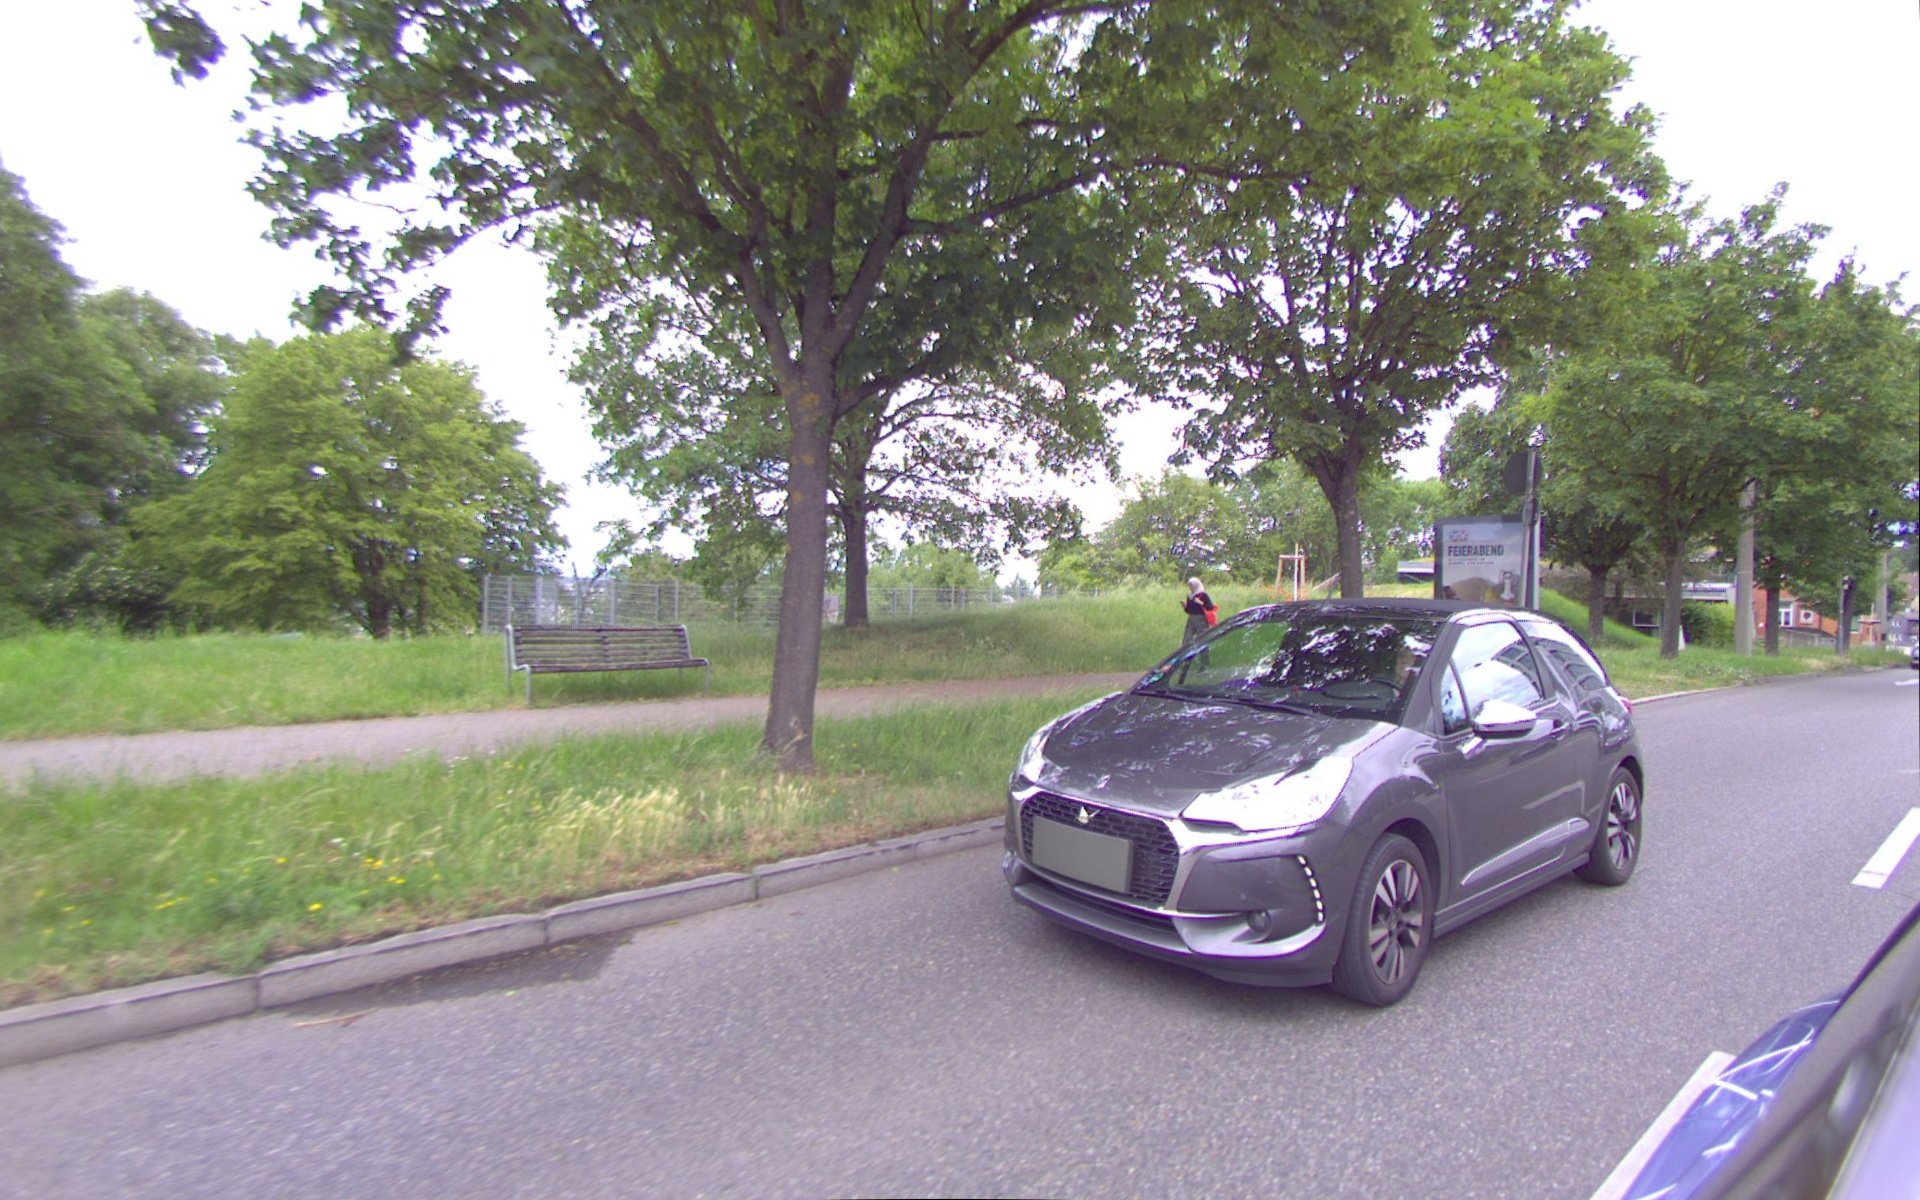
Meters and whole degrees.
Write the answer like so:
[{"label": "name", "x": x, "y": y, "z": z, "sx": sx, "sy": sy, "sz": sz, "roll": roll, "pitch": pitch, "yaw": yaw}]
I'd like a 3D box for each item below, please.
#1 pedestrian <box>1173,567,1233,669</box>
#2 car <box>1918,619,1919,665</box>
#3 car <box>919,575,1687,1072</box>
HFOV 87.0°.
[{"label": "pedestrian", "x": 4.081, "y": 0.295, "z": 16.971, "sx": 0.690, "sy": 1.623, "sz": 0.542, "roll": 1, "pitch": 5, "yaw": -41}, {"label": "car", "x": 32.963, "y": 1.363, "z": 33.145, "sx": 4.086, "sy": 1.461, "sz": 1.986, "roll": 1, "pitch": 0, "yaw": -42}, {"label": "car", "x": 1.902, "y": 0.674, "z": 4.949, "sx": 3.988, "sy": 1.479, "sz": 1.705, "roll": 1, "pitch": 0, "yaw": -39}]
